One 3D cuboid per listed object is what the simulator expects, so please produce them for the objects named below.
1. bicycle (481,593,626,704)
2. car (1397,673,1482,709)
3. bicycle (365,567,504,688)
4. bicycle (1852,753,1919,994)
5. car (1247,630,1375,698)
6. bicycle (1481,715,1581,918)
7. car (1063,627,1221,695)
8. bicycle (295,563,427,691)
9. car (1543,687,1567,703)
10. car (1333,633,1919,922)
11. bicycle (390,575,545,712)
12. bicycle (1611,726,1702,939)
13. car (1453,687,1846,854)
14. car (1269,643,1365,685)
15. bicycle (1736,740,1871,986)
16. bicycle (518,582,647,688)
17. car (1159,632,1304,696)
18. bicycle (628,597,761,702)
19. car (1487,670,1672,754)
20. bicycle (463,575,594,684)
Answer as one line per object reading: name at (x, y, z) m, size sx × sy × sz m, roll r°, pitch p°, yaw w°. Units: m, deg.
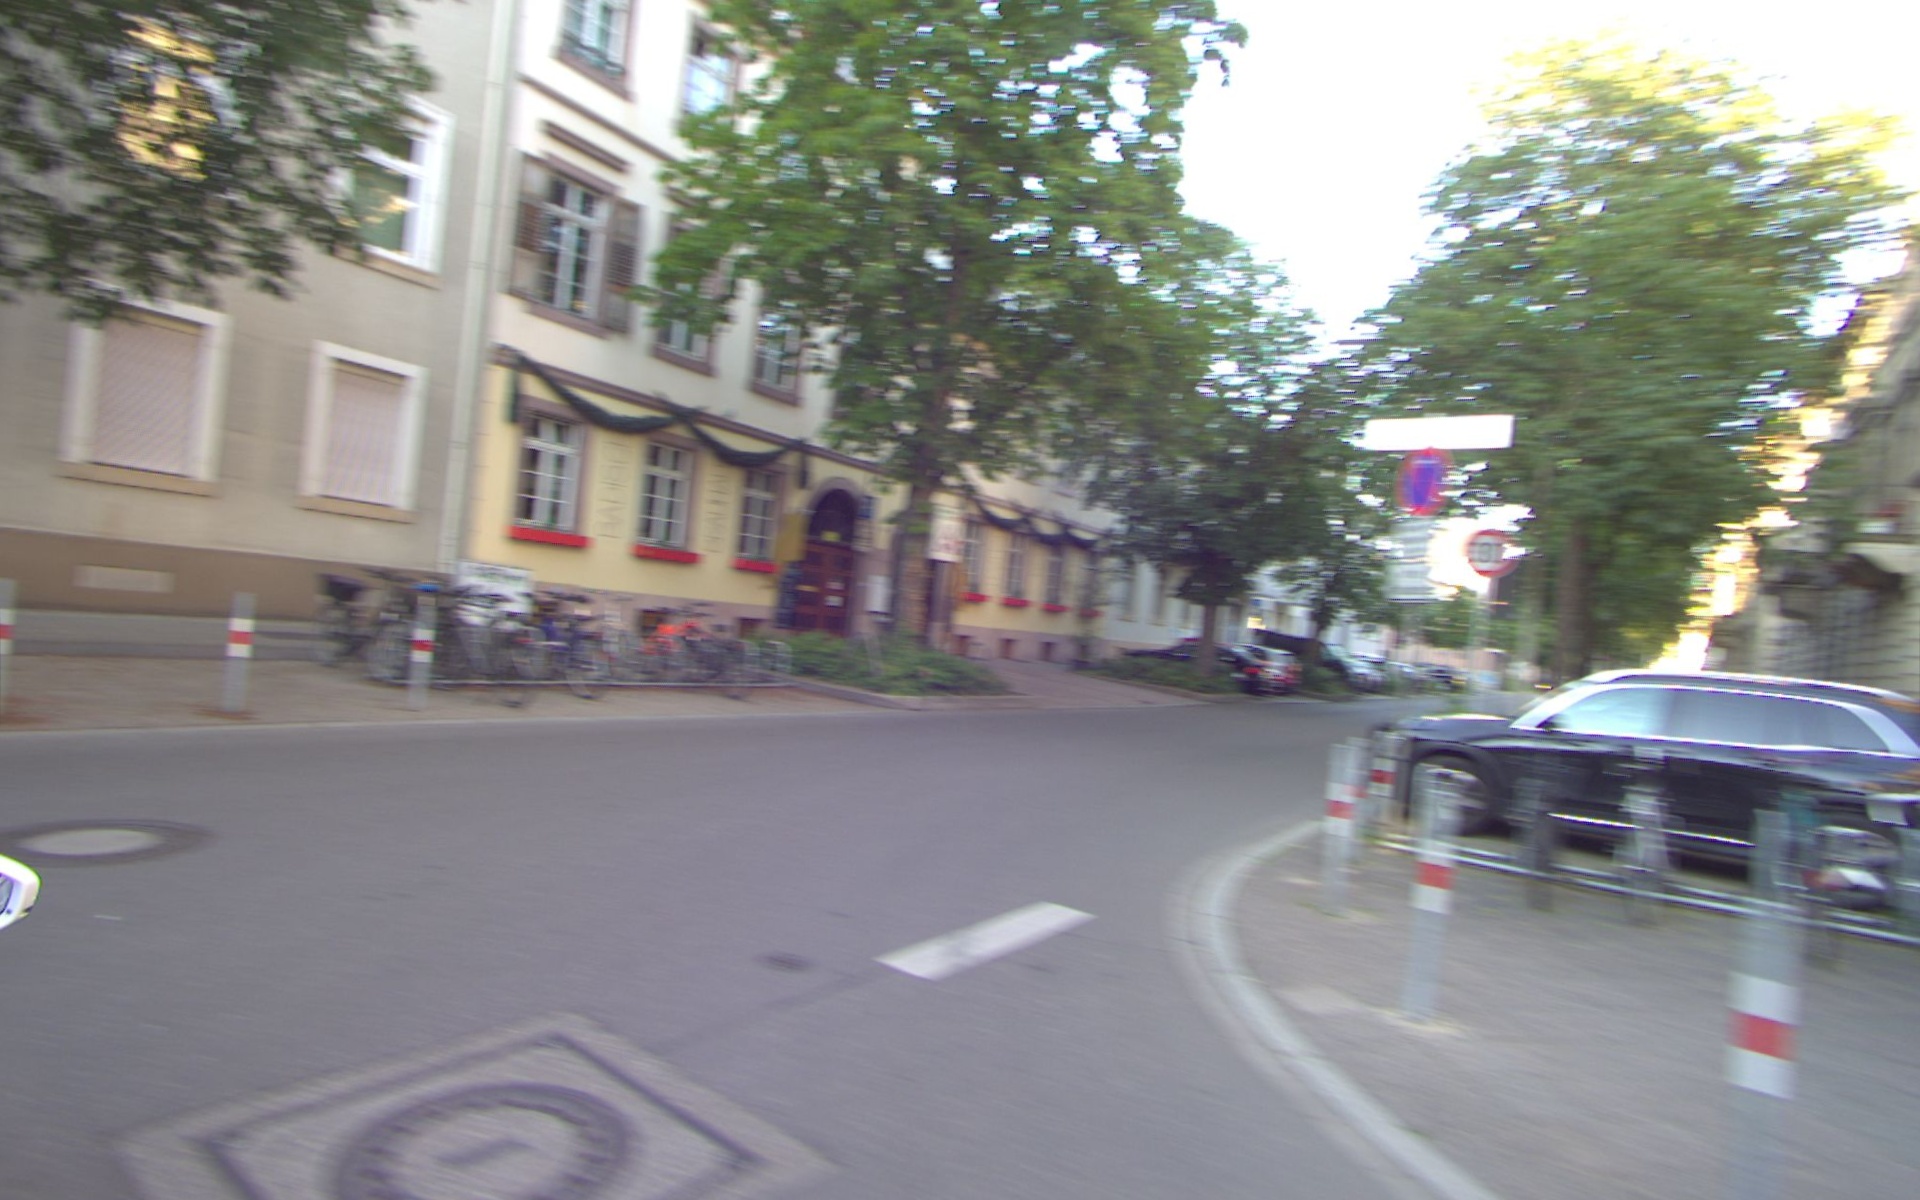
bicycle at (-4.721, 0.538, 11.602) m, size 2.009 × 1.016 × 0.420 m, roll 7°, pitch 1°, yaw 34°
car at (29.593, 5.603, 62.128) m, size 4.377 × 1.633 × 1.771 m, roll 6°, pitch 0°, yaw 36°
bicycle at (-6.072, 0.299, 11.579) m, size 2.009 × 1.160 × 0.420 m, roll 7°, pitch 1°, yaw 34°
bicycle at (5.556, 1.512, 5.765) m, size 0.359 × 1.103 × 1.864 m, roll 5°, pitch 0°, yaw 35°
car at (14.114, 2.560, 40.534) m, size 4.377 × 2.149 × 1.771 m, roll 6°, pitch 0°, yaw 36°
bicycle at (3.928, 1.388, 6.861) m, size 0.359 × 1.103 × 1.864 m, roll 5°, pitch 0°, yaw 35°
car at (5.632, 1.882, 31.339) m, size 4.377 × 1.524 × 1.771 m, roll 6°, pitch 0°, yaw 36°
bicycle at (-6.493, 0.262, 10.858) m, size 2.012 × 1.160 × 0.444 m, roll 7°, pitch 1°, yaw 38°
car at (60.705, 9.676, 102.616) m, size 1.799 × 1.389 × 3.990 m, roll 7°, pitch -1°, yaw 34°
car at (6.006, 1.388, 9.098) m, size 4.522 × 1.760 × 1.770 m, roll 4°, pitch 0°, yaw 36°
bicycle at (-5.104, 0.421, 10.356) m, size 2.010 × 1.160 × 0.445 m, roll 7°, pitch 1°, yaw 36°
bicycle at (4.589, 1.445, 6.648) m, size 0.359 × 1.103 × 1.864 m, roll 5°, pitch 0°, yaw 35°
car at (9.852, 2.347, 14.728) m, size 4.377 × 1.505 × 1.771 m, roll 6°, pitch 0°, yaw 36°
car at (18.916, 3.407, 53.369) m, size 4.377 × 1.633 × 1.771 m, roll 6°, pitch 0°, yaw 36°
bicycle at (4.958, 1.458, 5.985) m, size 0.359 × 1.103 × 1.864 m, roll 5°, pitch 0°, yaw 35°
bicycle at (-5.032, 0.442, 13.341) m, size 2.009 × 1.160 × 0.420 m, roll 7°, pitch 1°, yaw 34°
car at (9.376, 2.205, 34.926) m, size 4.377 × 1.633 × 1.771 m, roll 6°, pitch 0°, yaw 36°
bicycle at (-3.601, 0.643, 13.542) m, size 2.009 × 1.160 × 0.420 m, roll 7°, pitch 1°, yaw 34°
car at (18.212, 3.243, 29.671) m, size 4.377 × 1.759 × 1.771 m, roll 6°, pitch 0°, yaw 36°
bicycle at (-5.533, 0.361, 12.848) m, size 2.009 × 1.160 × 0.420 m, roll 7°, pitch 1°, yaw 34°
